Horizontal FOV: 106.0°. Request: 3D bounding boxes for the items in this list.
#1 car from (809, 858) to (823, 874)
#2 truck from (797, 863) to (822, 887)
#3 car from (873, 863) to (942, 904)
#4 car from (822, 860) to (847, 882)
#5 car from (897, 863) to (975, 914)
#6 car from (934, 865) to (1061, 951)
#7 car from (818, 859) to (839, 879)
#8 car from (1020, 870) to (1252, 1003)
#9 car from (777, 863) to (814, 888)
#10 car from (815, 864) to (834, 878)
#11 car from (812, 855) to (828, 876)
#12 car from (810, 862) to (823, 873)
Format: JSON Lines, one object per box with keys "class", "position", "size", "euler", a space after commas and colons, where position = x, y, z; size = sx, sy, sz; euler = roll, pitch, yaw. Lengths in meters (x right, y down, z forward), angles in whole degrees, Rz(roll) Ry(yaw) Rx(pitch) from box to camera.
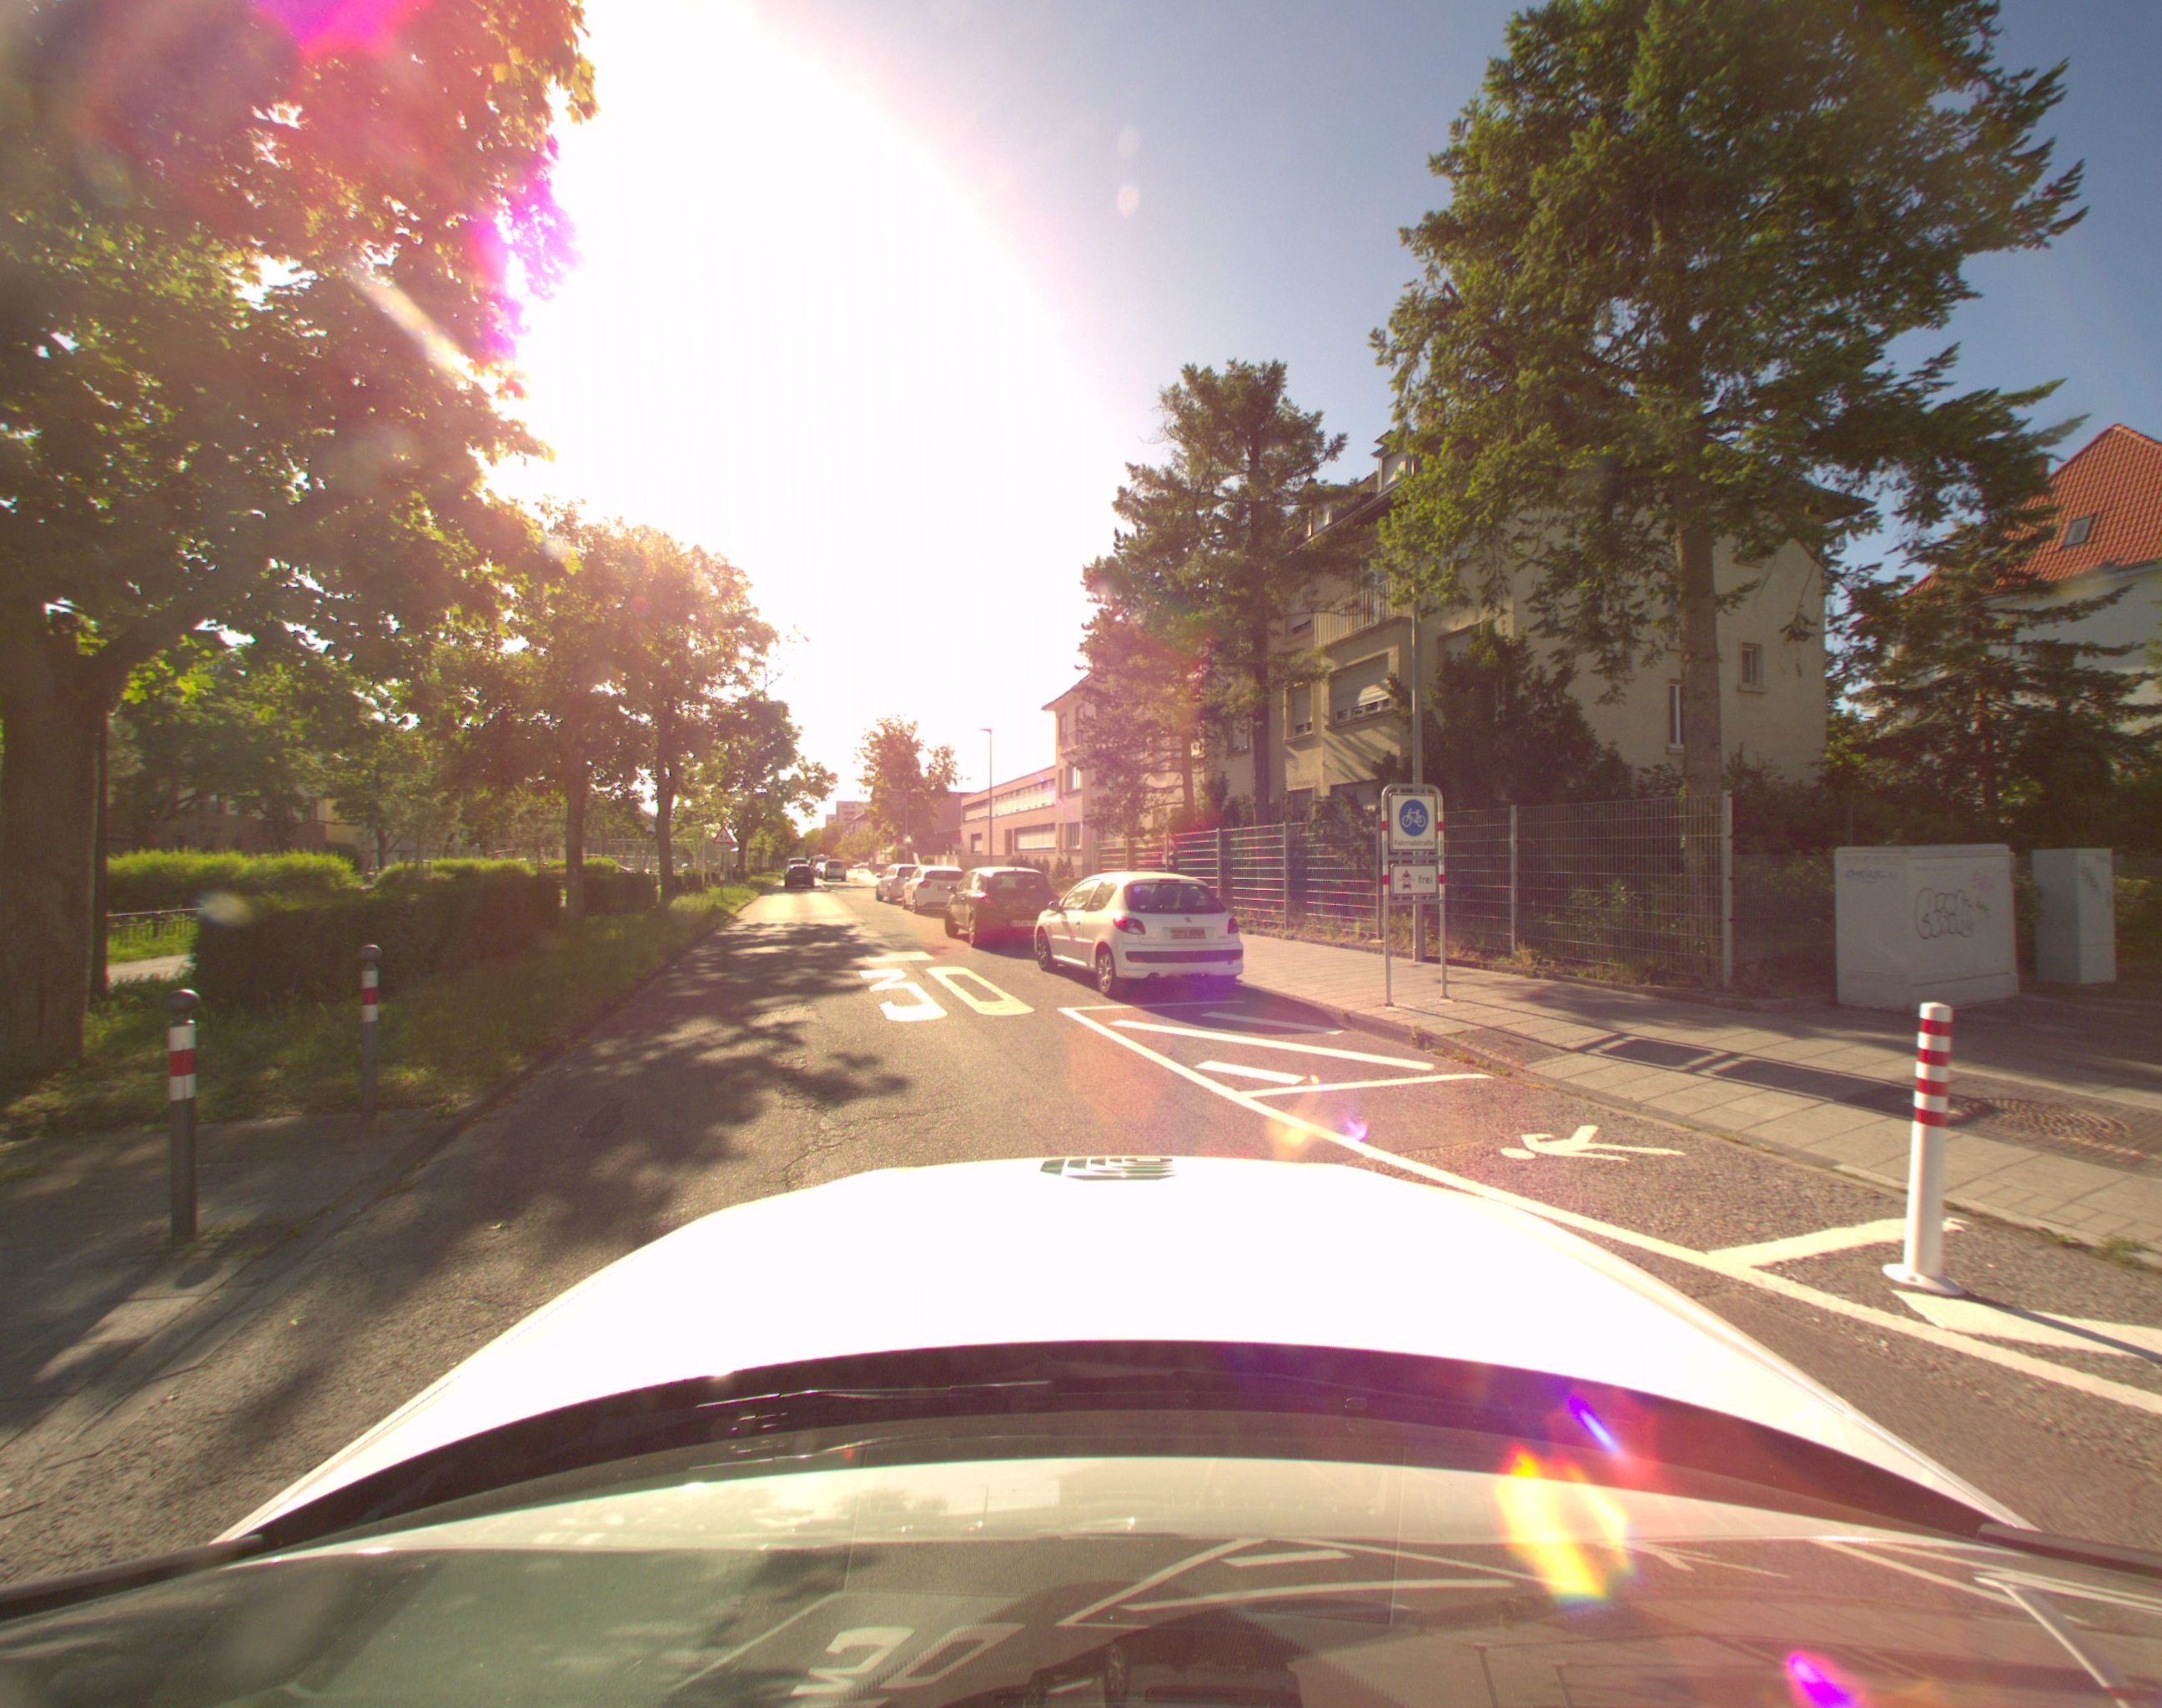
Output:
{"class": "car", "position": [-39.053, 1.728, 119.910], "size": [1.823, 2.354, 3.973], "euler": [0, -1, -20]}
{"class": "truck", "position": [-24.335, 1.810, 72.919], "size": [2.000, 2.036, 4.841], "euler": [-1, 0, -20]}
{"class": "car", "position": [-6.819, 1.101, 31.681], "size": [1.804, 1.495, 3.967], "euler": [1, -1, -24]}
{"class": "car", "position": [-21.229, 1.404, 70.040], "size": [1.823, 1.830, 3.973], "euler": [0, -1, -20]}
{"class": "car", "position": [-4.698, 1.035, 25.962], "size": [1.801, 1.495, 3.973], "euler": [1, -1, -20]}
{"class": "car", "position": [-1.781, 0.976, 16.273], "size": [1.677, 1.495, 3.801], "euler": [1, -1, -20]}
{"class": "car", "position": [-24.723, 1.435, 79.633], "size": [1.823, 1.830, 3.973], "euler": [0, -1, -20]}
{"class": "car", "position": [0.529, 0.923, 10.811], "size": [1.707, 1.398, 3.751], "euler": [1, -1, -20]}
{"class": "car", "position": [-18.138, 1.327, 51.633], "size": [2.002, 1.525, 4.720], "euler": [0, -1, -22]}
{"class": "car", "position": [-26.815, 1.801, 85.097], "size": [1.823, 1.399, 3.973], "euler": [0, -1, -20]}
{"class": "car", "position": [-33.388, 1.474, 104.233], "size": [1.823, 2.518, 3.973], "euler": [0, -1, -20]}
{"class": "car", "position": [-42.741, 2.149, 131.555], "size": [1.823, 1.835, 3.973], "euler": [0, -1, -20]}
